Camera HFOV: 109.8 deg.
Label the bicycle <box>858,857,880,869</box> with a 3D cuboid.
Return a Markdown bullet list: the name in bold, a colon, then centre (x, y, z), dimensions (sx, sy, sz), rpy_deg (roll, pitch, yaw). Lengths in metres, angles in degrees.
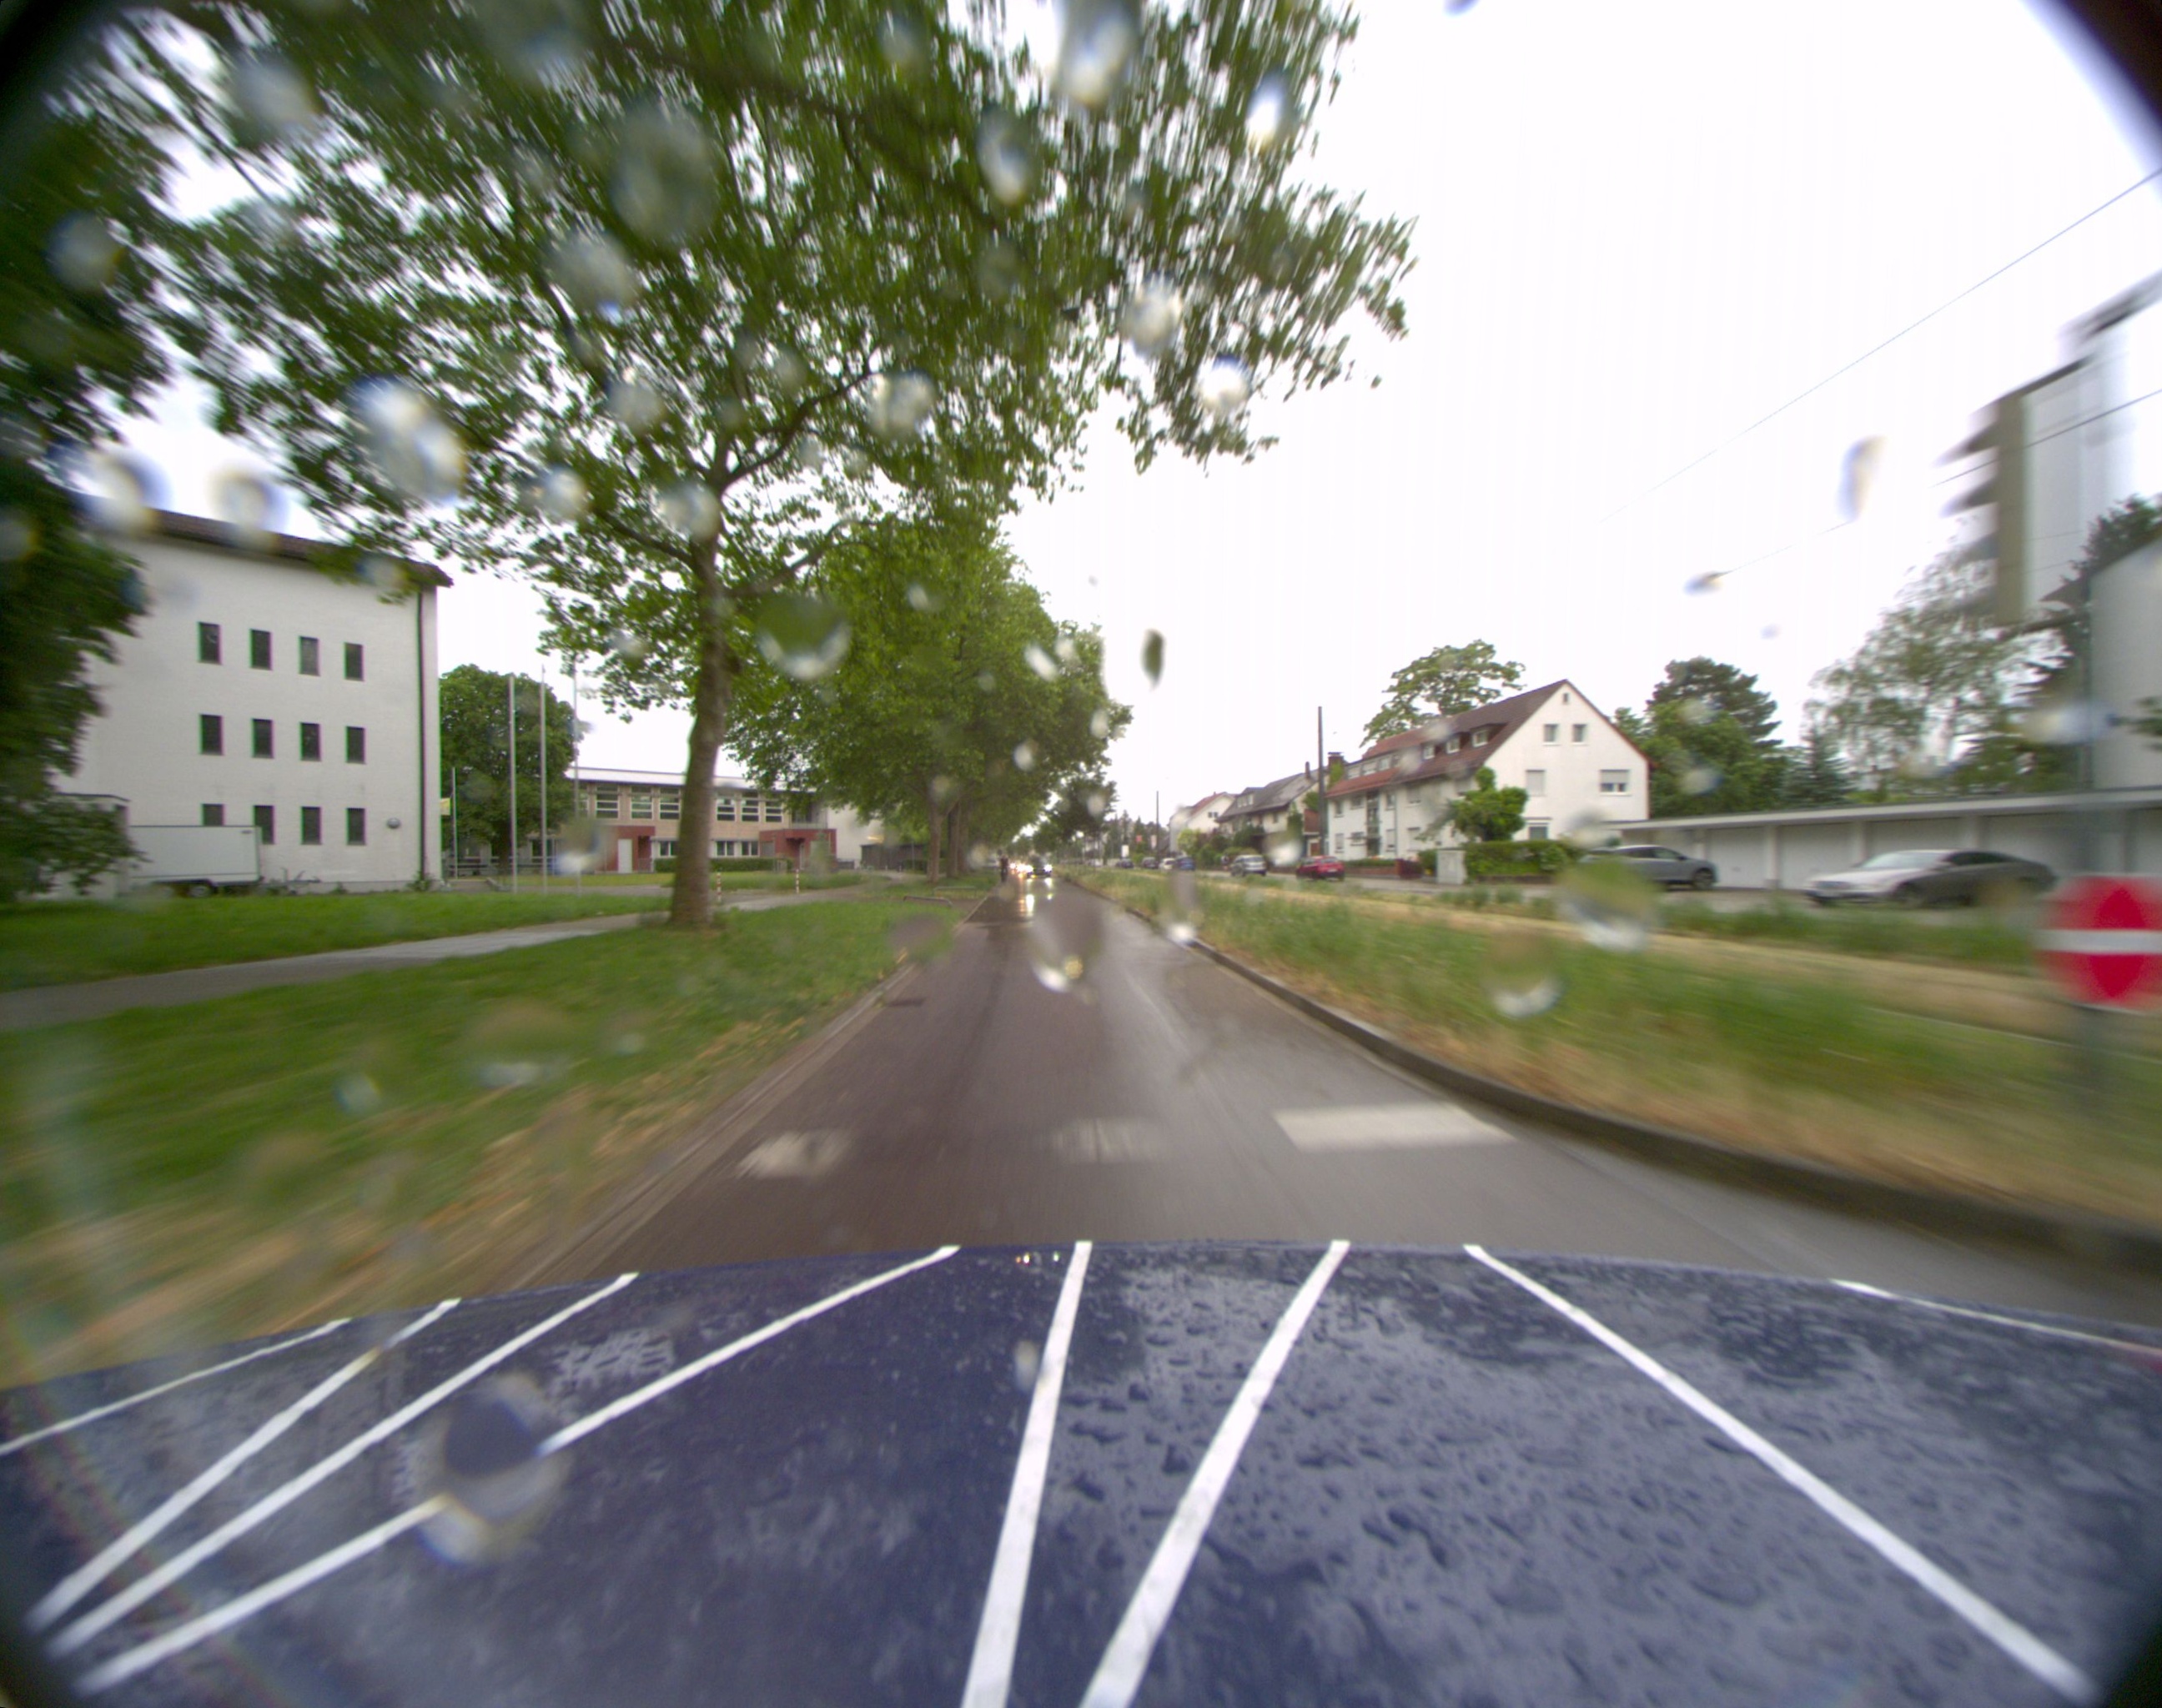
- **bicycle**: centre (-18.833, 0.800, 67.536), dimensions (0.520, 1.115, 1.942), rpy_deg (2, 1, 39)

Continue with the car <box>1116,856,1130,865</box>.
- **car**: centre (6.743, 1.033, 121.986), dimensions (1.894, 1.490, 3.998), rpy_deg (0, 0, -4)

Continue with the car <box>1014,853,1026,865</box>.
- **car**: centre (-9.600, 0.753, 120.237), dimensions (1.768, 1.715, 3.931), rpy_deg (0, 1, -6)

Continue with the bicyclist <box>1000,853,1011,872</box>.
- **bicyclist**: centre (-4.362, 0.476, 44.015), dimensions (0.622, 1.078, 0.624), rpy_deg (0, 1, -4)

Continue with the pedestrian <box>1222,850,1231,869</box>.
- **pedestrian**: centre (14.218, 0.534, 74.028), dimensions (0.600, 1.757, 0.869), rpy_deg (-2, 1, -4)

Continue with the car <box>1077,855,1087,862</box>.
- **car**: centre (0.223, 0.960, 178.116), dimensions (1.759, 1.507, 3.852), rpy_deg (-3, 0, -4)

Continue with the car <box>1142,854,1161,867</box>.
- **car**: centre (9.242, 0.827, 100.258), dimensions (1.759, 1.604, 4.109), rpy_deg (-3, 0, -4)

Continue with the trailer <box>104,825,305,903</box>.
- **trailer**: centre (-27.876, 0.287, 24.403), dimensions (4.029, 2.295, 1.887), rpy_deg (0, 0, -44)

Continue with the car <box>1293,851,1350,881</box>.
- **car**: centre (14.073, 0.671, 44.635), dimensions (1.847, 1.538, 3.971), rpy_deg (-3, 0, -3)

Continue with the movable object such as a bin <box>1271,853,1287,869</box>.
- **movable object such as a bin**: centre (17.454, 0.616, 67.036), dimensions (1.188, 1.290, 0.739), rpy_deg (-2, 0, -3)

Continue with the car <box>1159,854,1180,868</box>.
- **car**: centre (10.307, 0.809, 88.698), dimensions (1.718, 1.520, 3.599), rpy_deg (-4, 0, -5)

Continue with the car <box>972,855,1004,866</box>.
- **car**: centre (-12.883, 0.946, 105.214), dimensions (4.022, 1.478, 1.636), rpy_deg (0, 0, -24)

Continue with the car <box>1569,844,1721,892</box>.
- **car**: centre (19.590, 0.453, 26.502), dimensions (3.999, 1.567, 1.892), rpy_deg (-1, 0, -5)

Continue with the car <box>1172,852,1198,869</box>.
- **car**: centre (11.134, 0.669, 81.677), dimensions (1.849, 1.696, 4.180), rpy_deg (-2, 0, -6)

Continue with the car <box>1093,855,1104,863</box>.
- **car**: centre (3.472, 1.007, 151.140), dimensions (1.759, 1.507, 3.852), rpy_deg (-3, 0, -4)

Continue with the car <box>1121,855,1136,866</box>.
- **car**: centre (7.348, 0.991, 117.675), dimensions (1.759, 1.507, 3.852), rpy_deg (-3, 0, -4)

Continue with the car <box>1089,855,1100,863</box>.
- **car**: centre (2.751, 1.033, 155.639), dimensions (1.759, 1.507, 3.852), rpy_deg (-3, 0, -4)

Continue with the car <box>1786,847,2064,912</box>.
- **car**: centre (20.132, 0.578, 18.266), dimensions (4.738, 1.357, 1.848), rpy_deg (-2, 0, -2)

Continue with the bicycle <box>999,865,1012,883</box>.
- **bicycle**: centre (-4.370, 1.147, 44.175), dimensions (0.659, 1.008, 2.256), rpy_deg (0, 1, -4)

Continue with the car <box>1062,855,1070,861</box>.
- **car**: centre (-4.200, 1.067, 210.686), dimensions (1.759, 1.507, 3.852), rpy_deg (-3, 0, -4)

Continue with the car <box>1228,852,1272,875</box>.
- **car**: centre (12.848, 0.682, 58.028), dimensions (1.999, 1.604, 4.682), rpy_deg (-2, 0, -3)

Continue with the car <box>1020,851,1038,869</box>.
- **car**: centre (-5.465, 0.601, 79.608), dimensions (1.768, 1.715, 3.932), rpy_deg (-2, 0, -5)

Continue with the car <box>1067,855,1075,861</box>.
- **car**: centre (-2.505, 0.977, 199.006), dimensions (1.759, 1.507, 3.852), rpy_deg (-3, 0, -4)

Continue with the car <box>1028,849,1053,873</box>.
- **car**: centre (-3.160, 0.572, 58.541), dimensions (1.768, 1.715, 3.933), rpy_deg (-3, 0, -5)
